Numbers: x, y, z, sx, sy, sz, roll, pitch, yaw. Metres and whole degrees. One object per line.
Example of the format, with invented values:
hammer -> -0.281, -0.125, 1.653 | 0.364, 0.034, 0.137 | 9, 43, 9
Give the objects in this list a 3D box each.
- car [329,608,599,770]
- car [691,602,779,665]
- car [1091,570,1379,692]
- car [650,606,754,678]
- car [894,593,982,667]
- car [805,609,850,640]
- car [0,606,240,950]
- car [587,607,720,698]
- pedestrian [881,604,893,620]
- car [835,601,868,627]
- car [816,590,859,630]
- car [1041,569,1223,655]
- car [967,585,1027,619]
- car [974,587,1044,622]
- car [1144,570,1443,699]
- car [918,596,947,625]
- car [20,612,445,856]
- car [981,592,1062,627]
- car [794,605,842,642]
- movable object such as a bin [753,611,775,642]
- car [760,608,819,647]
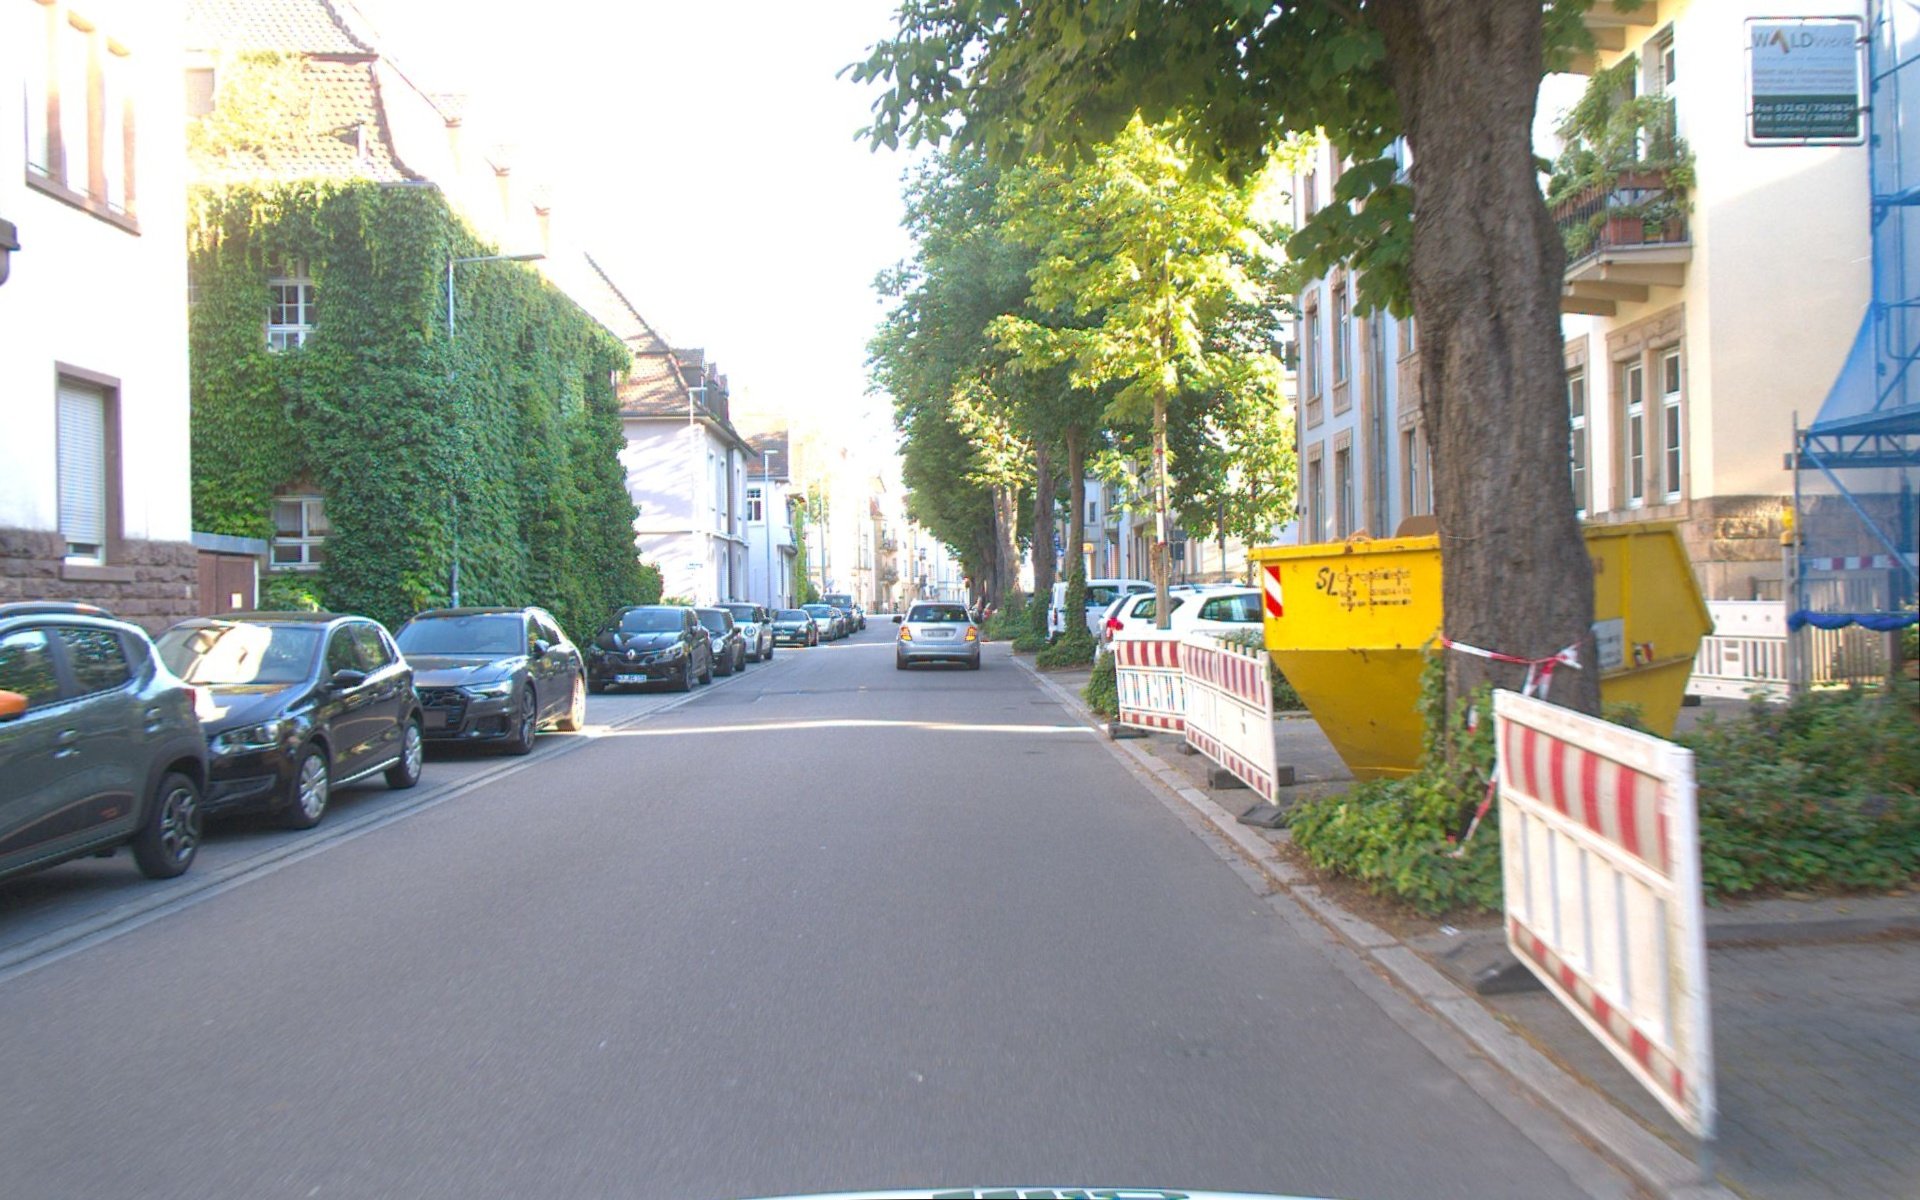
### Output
car -> -5.225, 0.853, 18.096 | 1.757, 1.487, 4.774 | 0, 0, -3
car -> -5.640, 0.811, 41.830 | 1.669, 1.486, 3.917 | 0, 0, 0
car -> 4.126, 0.452, 25.250 | 4.059, 1.561, 1.687 | -3, 0, 1
car -> -5.423, 0.852, 35.107 | 1.652, 1.404, 3.720 | 0, 0, -1
car -> -0.443, 0.614, 35.066 | 1.747, 1.462, 3.850 | -1, -1, 0
car -> -5.835, 1.068, 73.177 | 1.499, 1.342, 4.227 | -1, 0, 2
car -> -5.085, 0.802, 7.957 | 1.620, 1.512, 3.764 | 0, 0, -1
car -> -5.325, 0.871, 29.177 | 1.616, 1.445, 4.098 | 0, 0, -1
pedestrian -> -8.162, 1.377, 185.719 | 1.195, 1.752, 1.504 | -1, 0, 2
car -> -6.237, 0.793, 95.558 | 1.660, 1.472, 4.357 | 0, 0, -1
car -> -6.247, 0.501, 84.623 | 1.942, 1.982, 4.849 | 0, 0, -2
car -> 4.255, 0.290, 41.392 | 4.227, 1.838, 1.999 | -3, 0, -2
car -> 2.731, 0.136, 122.662 | 4.301, 2.405, 1.999 | -2, 0, -3
car -> 3.000, 0.291, 102.563 | 4.136, 1.929, 1.904 | -3, 0, -3
car -> 4.506, 0.451, 22.762 | 3.771, 1.487, 1.687 | -3, 0, 4
car -> -1.579, 0.587, 97.101 | 1.590, 1.597, 3.680 | -1, 0, 0
car -> -5.155, 0.852, 12.294 | 1.620, 1.472, 3.842 | 0, 0, -3
car -> 3.196, 0.485, 85.970 | 4.104, 1.501, 1.852 | -4, 0, 1
car -> -5.830, 0.949, 68.170 | 1.620, 1.471, 3.960 | 0, 0, 0
movable object such as a bin -> -8.680, 1.154, 73.249 | 0.707, 1.306, 2.096 | -1, 0, -1
car -> -6.090, 0.967, 59.373 | 1.619, 1.347, 4.046 | 0, 0, 1
